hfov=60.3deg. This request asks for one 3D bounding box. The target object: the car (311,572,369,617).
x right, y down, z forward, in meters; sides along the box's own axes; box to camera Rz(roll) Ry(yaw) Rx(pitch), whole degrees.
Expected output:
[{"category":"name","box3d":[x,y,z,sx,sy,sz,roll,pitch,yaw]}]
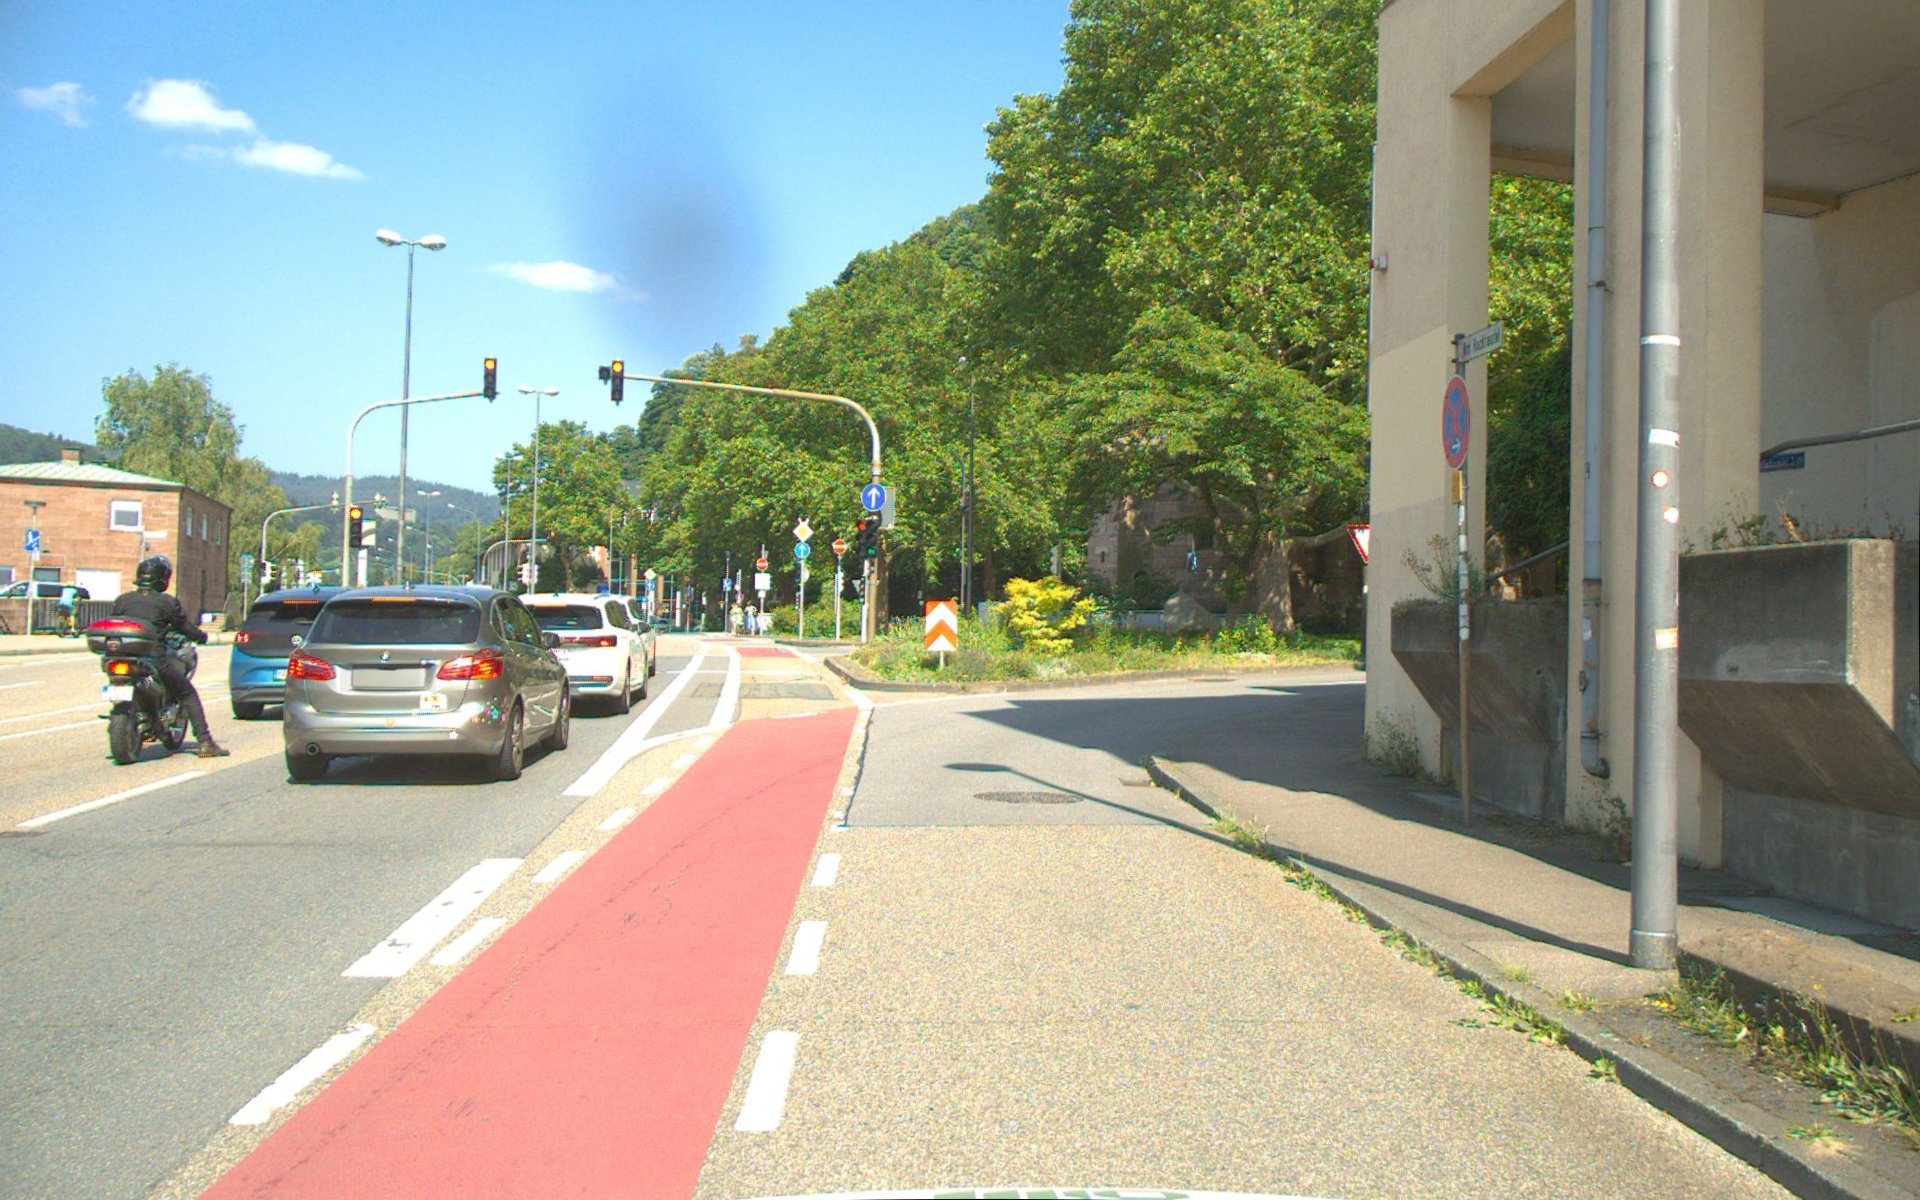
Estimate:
[{"category":"car","box3d":[-30.317,-0.303,80.953,2.178,2.115,5.023,0,1,-15]}]

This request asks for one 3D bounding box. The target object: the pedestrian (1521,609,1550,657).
[{"category":"pedestrian","box3d":[21.936,1.256,63.035,0.779,1.786,0.663,3,-1,-12]}]

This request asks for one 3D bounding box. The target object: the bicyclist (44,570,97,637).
[{"category":"bicyclist","box3d":[-27.518,0.103,51.177,1.192,2.049,1.114,0,0,-15]}]

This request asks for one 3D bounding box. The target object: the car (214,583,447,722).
[{"category":"car","box3d":[-7.854,0.595,21.038,1.831,1.589,3.994,0,0,-7]}]

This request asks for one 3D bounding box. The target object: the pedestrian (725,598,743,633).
[{"category":"pedestrian","box3d":[-11.386,0.764,83.331,0.746,1.749,0.795,0,0,1]}]

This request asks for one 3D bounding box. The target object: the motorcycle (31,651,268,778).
[{"category":"motorcycle","box3d":[-7.144,0.969,14.782,1.017,0.935,2.602,0,0,-5]}]

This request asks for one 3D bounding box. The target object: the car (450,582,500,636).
[{"category":"car","box3d":[-24.476,0.444,83.534,2.345,2.621,6.028,0,0,-16]}]

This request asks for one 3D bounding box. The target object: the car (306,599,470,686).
[{"category":"car","box3d":[-9.771,0.681,28.548,1.831,1.382,3.994,0,0,-7]}]

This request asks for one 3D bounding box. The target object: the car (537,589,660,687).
[{"category":"car","box3d":[-6.220,0.617,28.868,1.752,1.559,4.728,0,0,-8]}]

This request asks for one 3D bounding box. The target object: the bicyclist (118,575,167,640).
[{"category":"bicyclist","box3d":[-26.318,0.228,53.283,1.192,2.049,1.114,0,0,-15]}]

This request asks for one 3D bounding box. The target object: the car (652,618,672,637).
[{"category":"car","box3d":[-25.513,2.372,141.487,1.700,1.541,3.613,0,0,-11]}]

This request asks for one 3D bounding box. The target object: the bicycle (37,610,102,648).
[{"category":"bicycle","box3d":[-27.500,0.879,51.140,1.192,1.109,2.587,0,0,-15]}]

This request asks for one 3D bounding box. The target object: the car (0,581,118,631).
[{"category":"car","box3d":[-38.224,0.239,69.600,1.965,2.049,4.589,0,0,42]}]

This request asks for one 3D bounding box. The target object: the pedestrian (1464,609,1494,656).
[{"category":"pedestrian","box3d":[19.954,1.248,63.580,0.778,1.786,0.720,3,-1,-12]}]

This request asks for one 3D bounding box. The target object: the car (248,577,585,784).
[{"category":"car","box3d":[-4.575,0.621,14.620,1.851,1.548,4.301,1,0,-5]}]

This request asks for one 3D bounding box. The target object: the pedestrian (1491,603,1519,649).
[{"category":"pedestrian","box3d":[21.442,1.013,65.060,0.779,1.786,0.663,3,-1,-12]}]

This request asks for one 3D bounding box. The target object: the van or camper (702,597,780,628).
[{"category":"van or camper","box3d":[-13.885,0.783,104.991,4.445,1.935,2.002,0,0,11]}]

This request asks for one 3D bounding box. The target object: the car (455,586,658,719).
[{"category":"car","box3d":[-5.193,0.600,21.913,1.955,1.560,4.852,0,0,-6]}]

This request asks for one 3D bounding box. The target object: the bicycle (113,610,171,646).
[{"category":"bicycle","box3d":[-26.321,0.878,53.263,1.192,1.109,2.587,0,0,-15]}]

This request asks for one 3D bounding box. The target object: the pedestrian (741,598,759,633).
[{"category":"pedestrian","box3d":[-10.563,0.767,83.185,0.746,1.738,0.878,0,0,1]}]

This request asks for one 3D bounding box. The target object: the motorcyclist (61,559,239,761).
[{"category":"motorcyclist","box3d":[-7.130,0.507,14.628,1.054,1.714,1.155,0,0,-5]}]
